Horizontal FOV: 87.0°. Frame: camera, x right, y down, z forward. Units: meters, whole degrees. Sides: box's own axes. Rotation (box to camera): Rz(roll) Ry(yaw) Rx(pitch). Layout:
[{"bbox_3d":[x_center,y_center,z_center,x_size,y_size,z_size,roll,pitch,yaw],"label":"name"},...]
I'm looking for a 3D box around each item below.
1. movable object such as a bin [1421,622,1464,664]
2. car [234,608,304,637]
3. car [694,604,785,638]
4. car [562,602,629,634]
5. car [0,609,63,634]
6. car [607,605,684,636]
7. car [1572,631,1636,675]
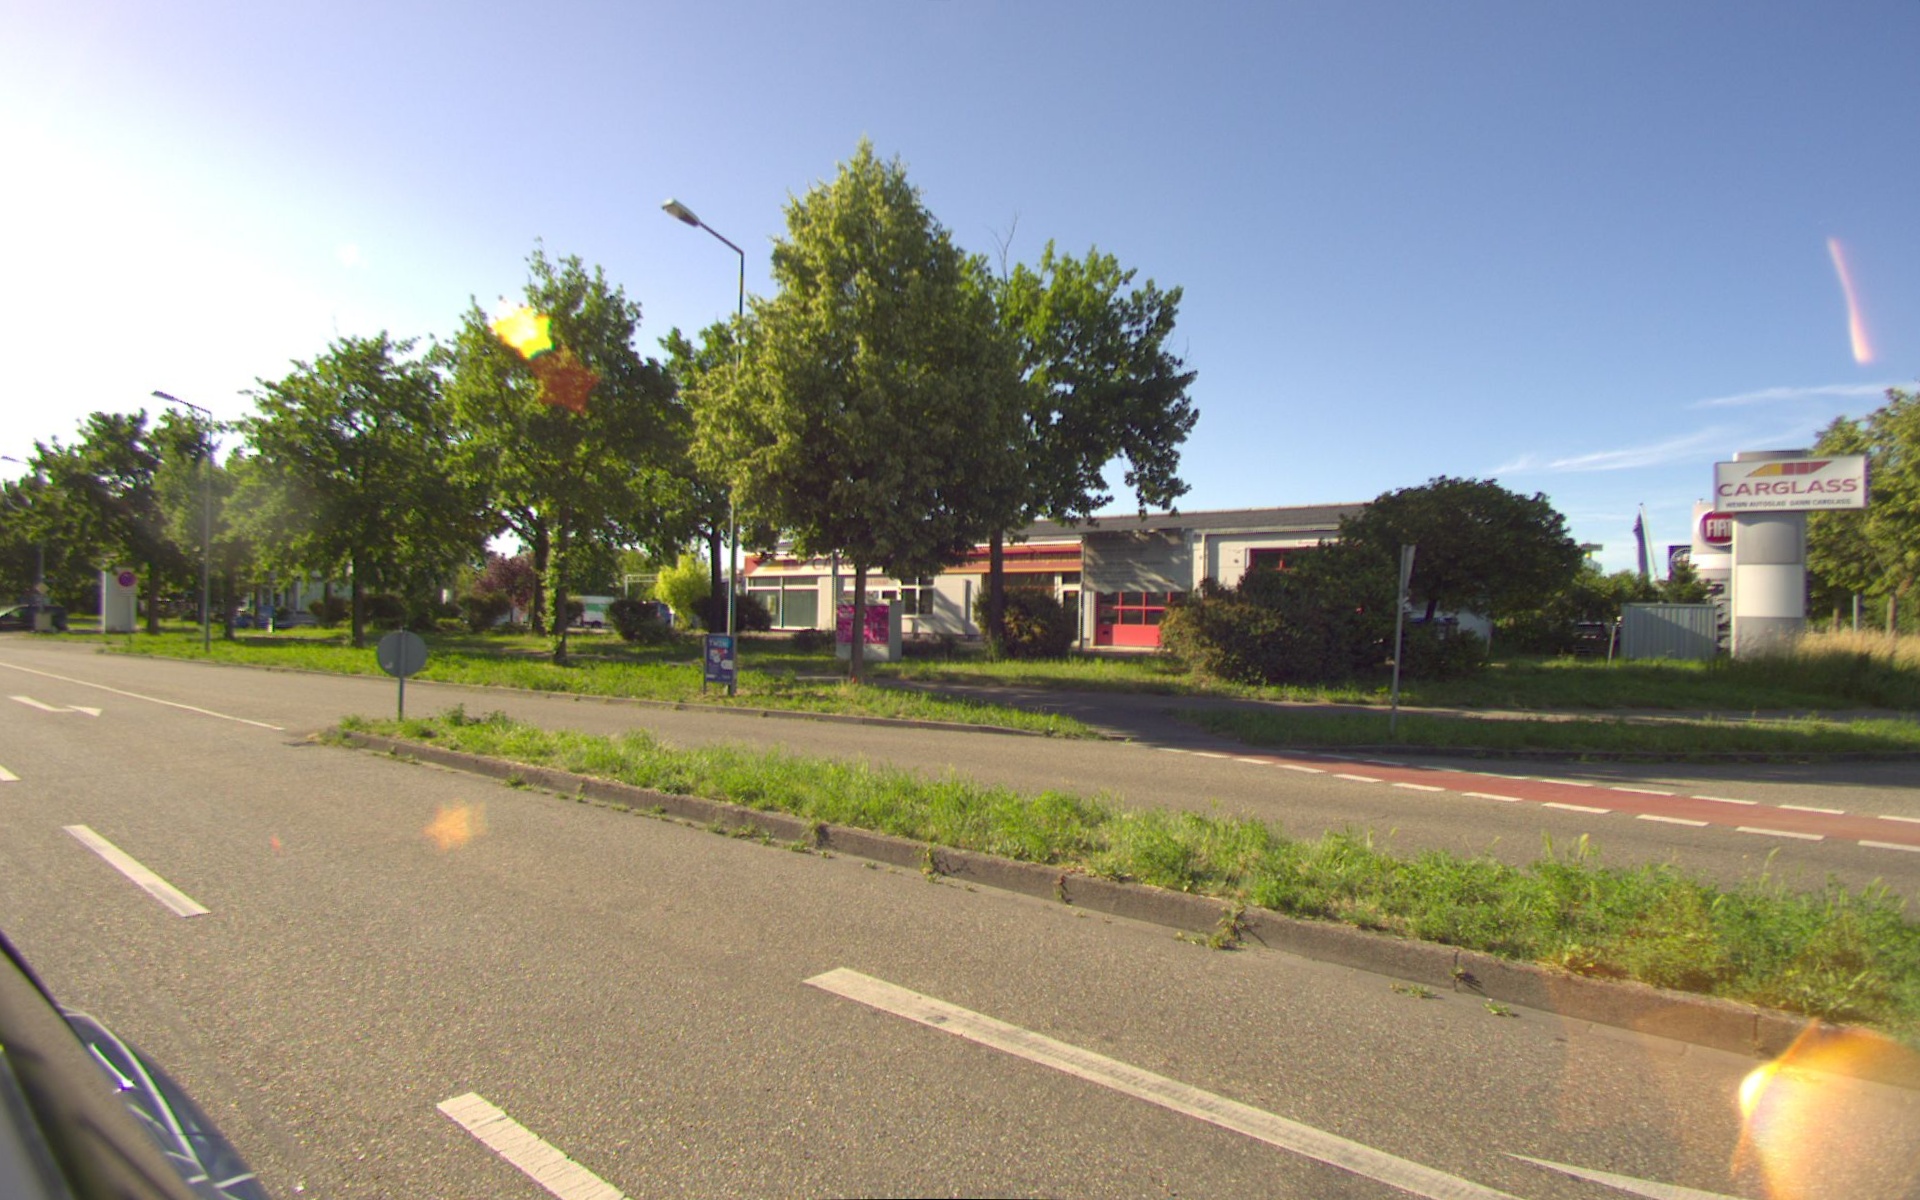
[{"bbox_3d":[15.625,1.374,32.768,0.992,1.308,1.116,-1,-2,40],"label":"movable object such as a bin"},{"bbox_3d":[-49.943,1.655,73.208,3.938,2.029,2.003,2,-2,-41],"label":"car"},{"bbox_3d":[-11.191,1.041,51.562,1.995,1.599,4.186,-1,0,39],"label":"car"},{"bbox_3d":[-25.920,1.285,72.063,1.775,2.234,4.161,-1,-2,38],"label":"car"},{"bbox_3d":[-56.570,1.279,60.637,4.152,1.497,1.779,1,-1,-45],"label":"car"},{"bbox_3d":[-20.604,1.310,66.453,1.996,1.960,4.432,-1,0,41],"label":"car"},{"bbox_3d":[29.304,2.366,45.999,1.998,1.741,3.947,-1,0,39],"label":"car"}]
